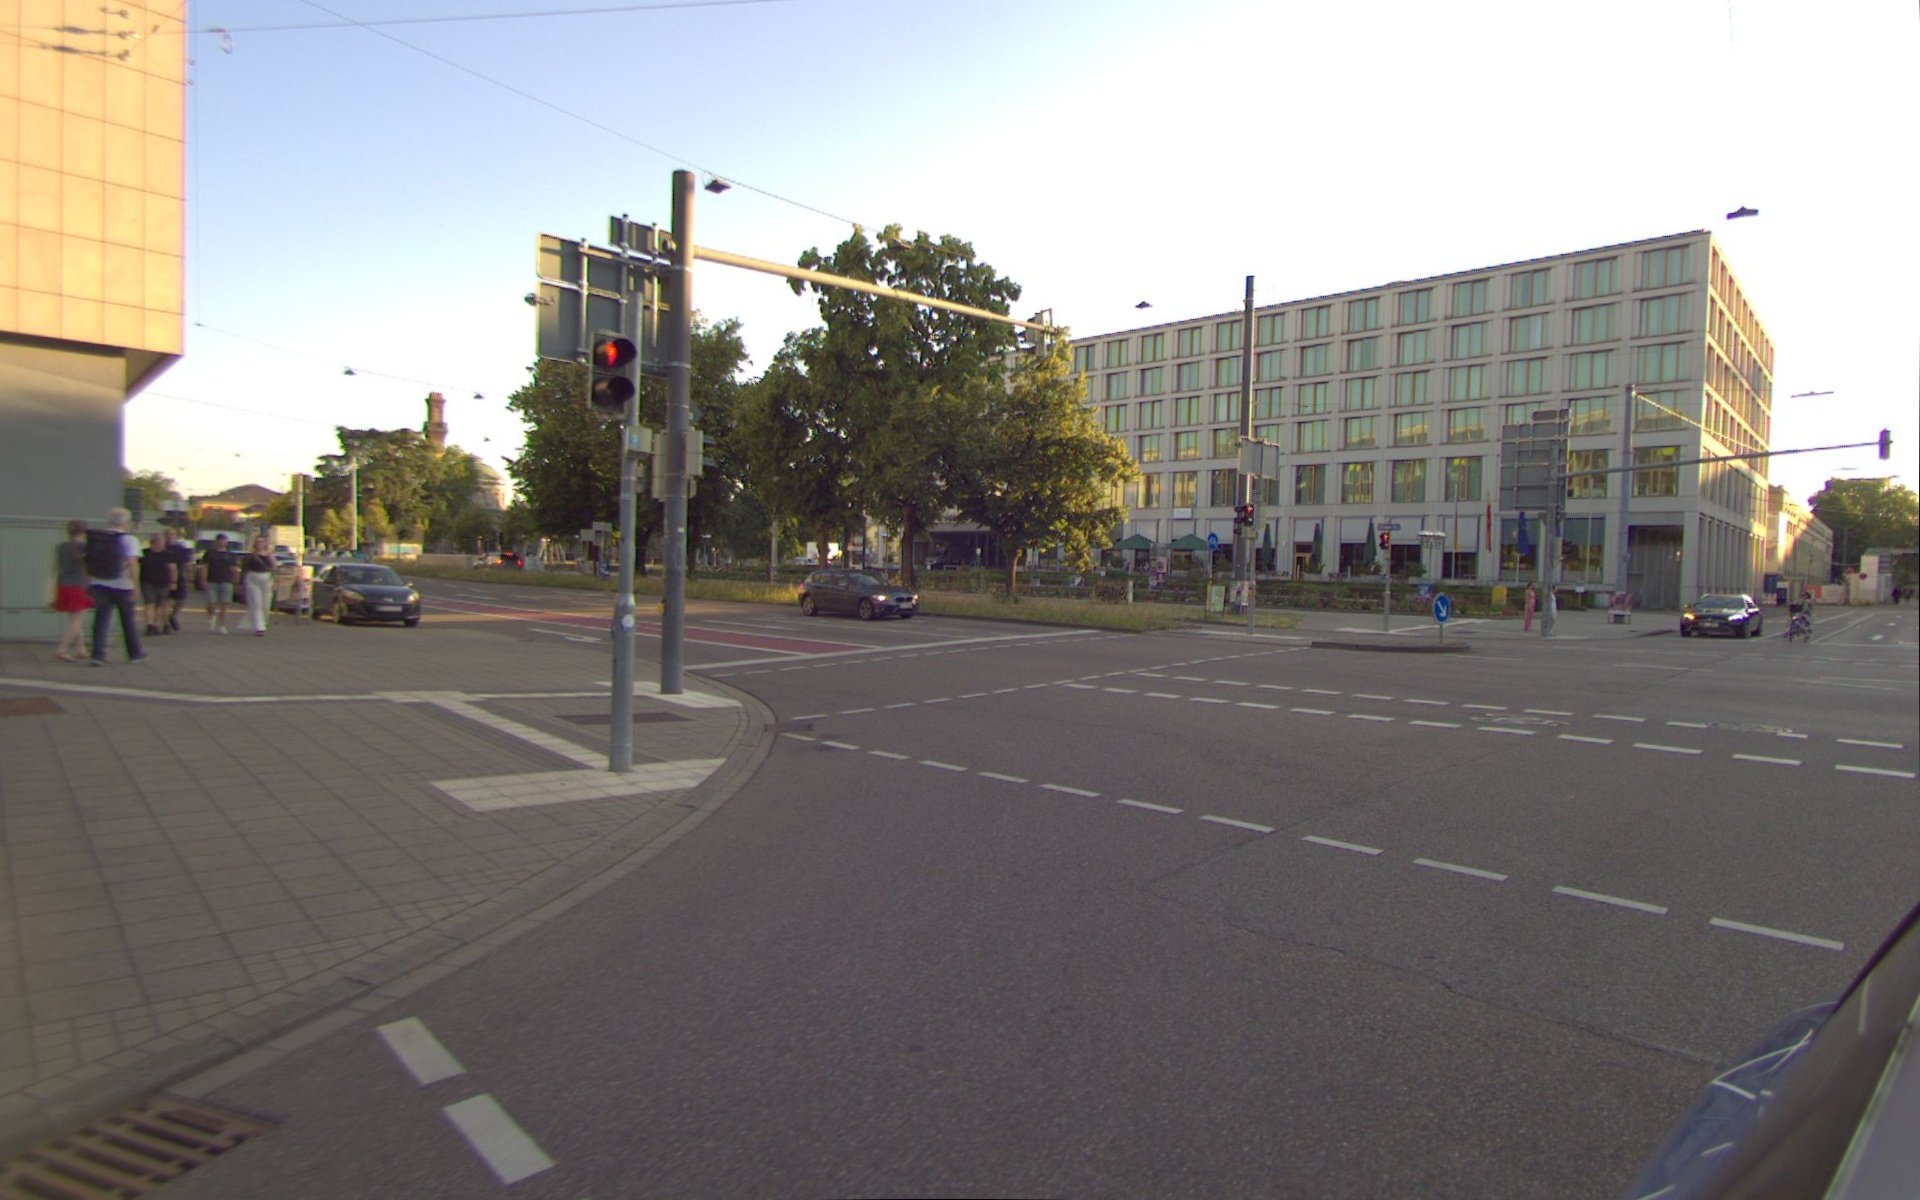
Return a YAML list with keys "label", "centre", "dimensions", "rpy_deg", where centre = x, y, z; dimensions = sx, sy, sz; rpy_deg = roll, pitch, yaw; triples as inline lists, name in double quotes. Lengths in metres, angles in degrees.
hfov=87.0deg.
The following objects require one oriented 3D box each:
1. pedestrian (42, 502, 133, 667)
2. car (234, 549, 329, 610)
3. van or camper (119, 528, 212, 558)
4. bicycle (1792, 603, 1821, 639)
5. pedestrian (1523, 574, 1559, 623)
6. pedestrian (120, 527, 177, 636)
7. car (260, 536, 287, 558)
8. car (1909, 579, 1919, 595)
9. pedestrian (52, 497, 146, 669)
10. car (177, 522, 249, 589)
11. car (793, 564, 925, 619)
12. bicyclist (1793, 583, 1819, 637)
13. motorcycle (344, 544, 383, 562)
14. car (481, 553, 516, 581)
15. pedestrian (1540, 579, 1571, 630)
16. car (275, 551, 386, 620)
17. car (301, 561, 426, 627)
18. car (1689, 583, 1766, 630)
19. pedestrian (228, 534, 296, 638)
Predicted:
- label: "pedestrian"
  centre: [-9.911, -0.182, 11.496]
  dimensions: [0.735, 1.790, 0.707]
  rpy_deg: [0, 2, -45]
- label: "car"
  centre: [-21.442, -0.672, 31.917]
  dimensions: [3.857, 1.686, 1.671]
  rpy_deg: [3, -1, 45]
- label: "van or camper"
  centre: [-61.959, -4.434, 79.063]
  dimensions: [2.212, 2.193, 5.504]
  rpy_deg: [1, 3, 15]
- label: "bicycle"
  centre: [26.797, 0.651, 32.041]
  dimensions: [0.539, 1.064, 1.732]
  rpy_deg: [3, 2, 45]
- label: "pedestrian"
  centre: [19.934, -0.061, 34.722]
  dimensions: [0.711, 1.646, 0.740]
  rpy_deg: [1, 1, -13]
- label: "pedestrian"
  centre: [-13.667, -0.319, 17.040]
  dimensions: [0.643, 1.790, 0.645]
  rpy_deg: [2, 2, 41]
- label: "car"
  centre: [-74.250, -5.733, 109.443]
  dimensions: [1.859, 2.265, 3.902]
  rpy_deg: [0, 3, -43]
- label: "car"
  centre: [101.412, -1.302, 105.356]
  dimensions: [3.799, 1.669, 1.833]
  rpy_deg: [3, 2, 45]
- label: "pedestrian"
  centre: [-9.367, -0.190, 11.006]
  dimensions: [0.723, 1.790, 0.707]
  rpy_deg: [0, 2, -45]
- label: "car"
  centre: [-34.615, -2.017, 47.046]
  dimensions: [2.201, 2.662, 5.855]
  rpy_deg: [8, -3, -34]
- label: "car"
  centre: [-3.059, -0.302, 30.000]
  dimensions: [1.670, 1.438, 4.165]
  rpy_deg: [0, 3, -43]
- label: "bicyclist"
  centre: [26.692, 0.313, 31.938]
  dimensions: [0.540, 1.656, 0.587]
  rpy_deg: [3, 2, 45]
- label: "motorcycle"
  centre: [-62.169, -4.877, 105.511]
  dimensions: [3.439, 1.776, 0.924]
  rpy_deg: [0, 2, -43]
- label: "car"
  centre: [-30.676, -2.154, 67.253]
  dimensions: [1.664, 1.625, 4.095]
  rpy_deg: [7, -3, -28]
- label: "pedestrian"
  centre: [19.489, 0.136, 33.117]
  dimensions: [0.526, 1.646, 0.628]
  rpy_deg: [1, 1, -28]
- label: "car"
  centre: [-17.453, -0.432, 28.002]
  dimensions: [3.857, 1.686, 1.671]
  rpy_deg: [3, -1, 45]
- label: "car"
  centre: [-14.614, -0.171, 24.720]
  dimensions: [3.857, 1.428, 1.671]
  rpy_deg: [3, 1, 45]
- label: "car"
  centre: [27.072, 0.189, 35.638]
  dimensions: [1.810, 1.542, 4.737]
  rpy_deg: [0, 0, 42]
- label: "pedestrian"
  centre: [-12.492, -0.261, 18.108]
  dimensions: [0.782, 1.790, 0.831]
  rpy_deg: [2, 2, 41]
